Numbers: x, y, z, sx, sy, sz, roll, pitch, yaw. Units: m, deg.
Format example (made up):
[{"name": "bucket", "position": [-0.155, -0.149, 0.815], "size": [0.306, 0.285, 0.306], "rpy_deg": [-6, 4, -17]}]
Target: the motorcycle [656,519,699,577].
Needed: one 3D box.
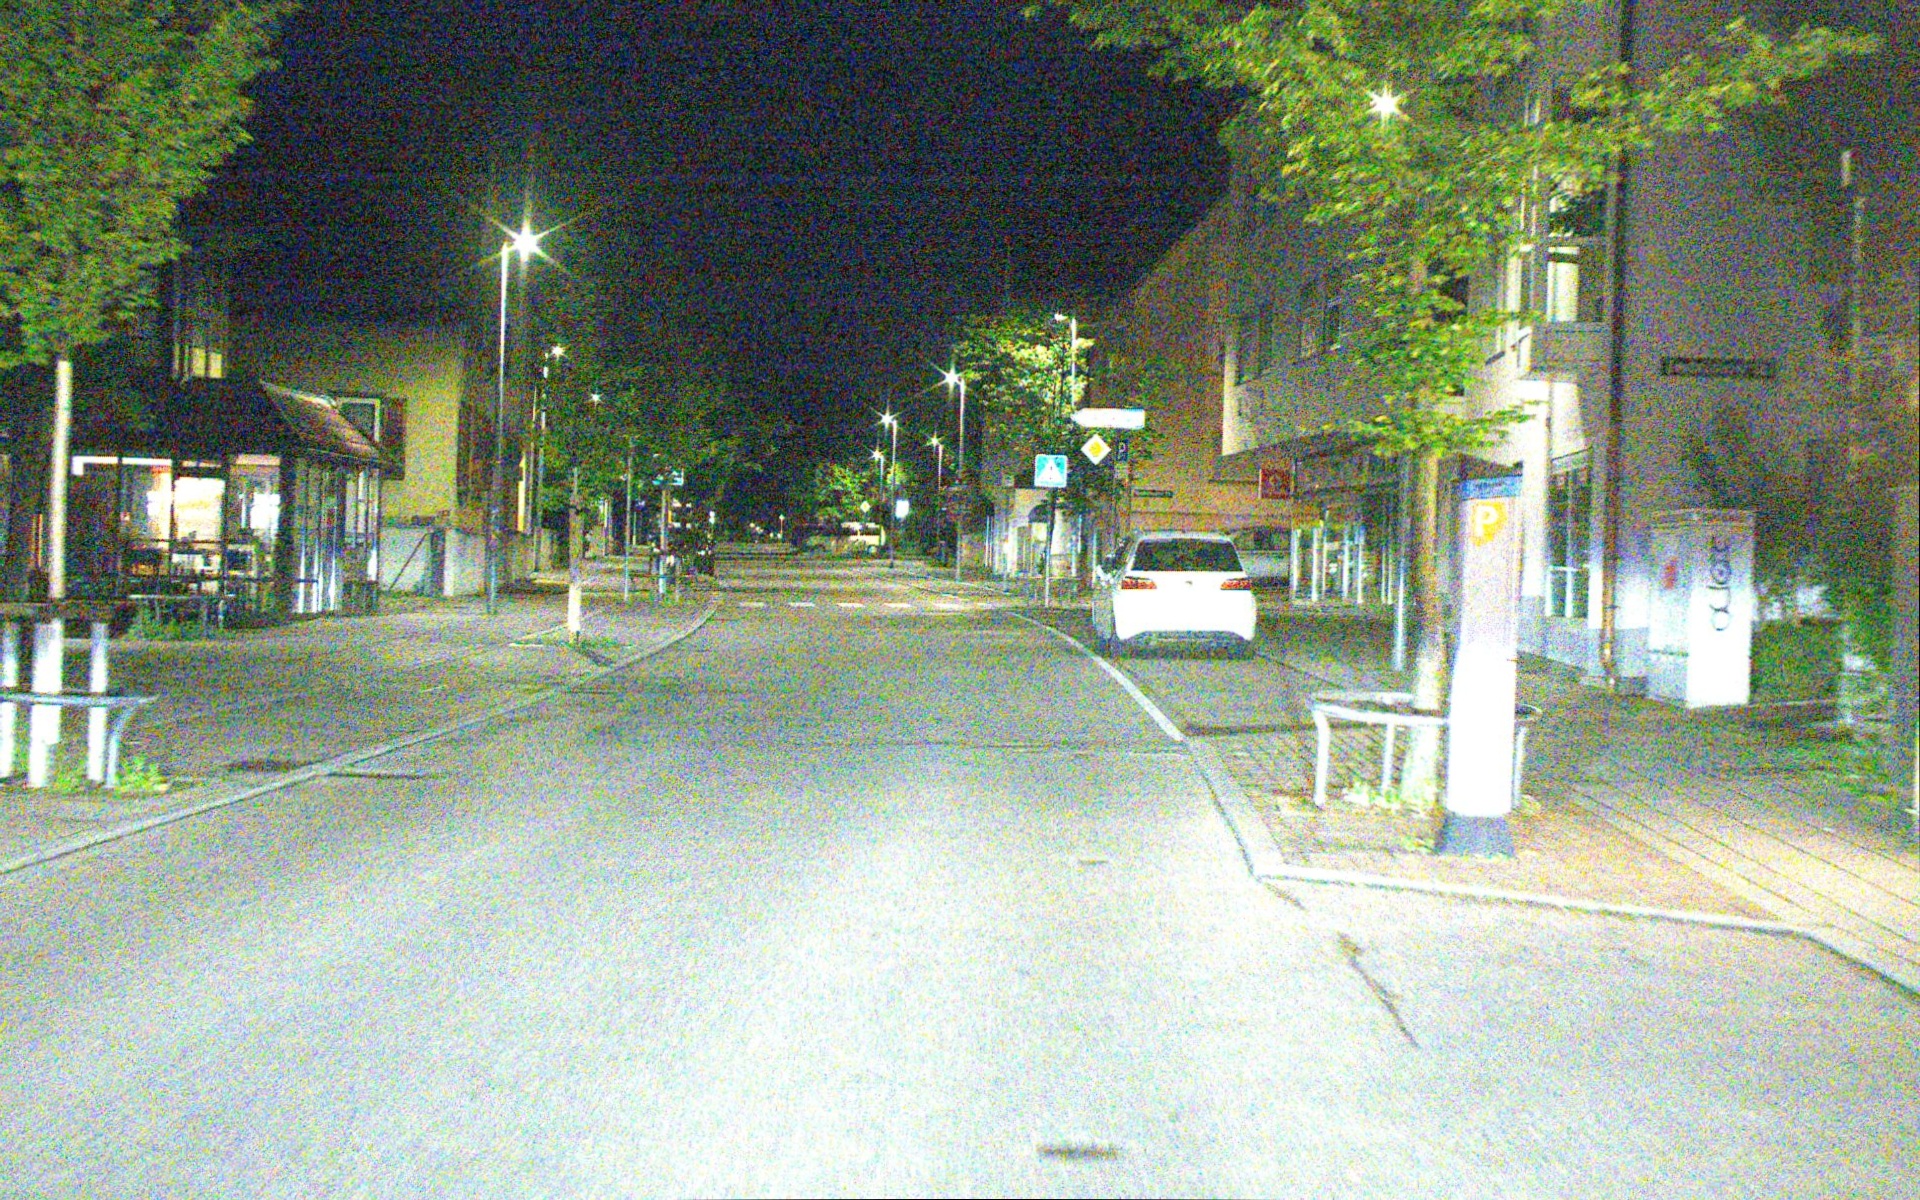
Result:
[{"name": "motorcycle", "position": [-7.193, -1.337, 87.531], "size": [0.746, 1.447, 2.195], "rpy_deg": [1, 1, 4]}]

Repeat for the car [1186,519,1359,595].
[{"name": "car", "position": [6.942, -0.963, 76.557], "size": [3.505, 1.519, 1.821], "rpy_deg": [-2, 1, -5]}]

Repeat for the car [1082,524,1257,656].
[{"name": "car", "position": [2.578, -0.164, 43.148], "size": [1.742, 1.563, 4.209], "rpy_deg": [0, 1, -3]}]

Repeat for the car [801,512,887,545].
[{"name": "car", "position": [-7.148, -4.404, 212.254], "size": [5.181, 2.007, 2.102], "rpy_deg": [-1, 1, -5]}]

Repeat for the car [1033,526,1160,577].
[{"name": "car", "position": [4.101, -1.463, 103.895], "size": [3.711, 1.468, 1.730], "rpy_deg": [1, 1, -1]}]

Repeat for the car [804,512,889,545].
[{"name": "car", "position": [-7.108, -4.481, 215.327], "size": [5.181, 2.007, 2.102], "rpy_deg": [-1, 1, -5]}]

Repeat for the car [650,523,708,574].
[{"name": "car", "position": [-8.710, -1.621, 106.921], "size": [1.688, 1.505, 4.279], "rpy_deg": [1, 1, -4]}]
